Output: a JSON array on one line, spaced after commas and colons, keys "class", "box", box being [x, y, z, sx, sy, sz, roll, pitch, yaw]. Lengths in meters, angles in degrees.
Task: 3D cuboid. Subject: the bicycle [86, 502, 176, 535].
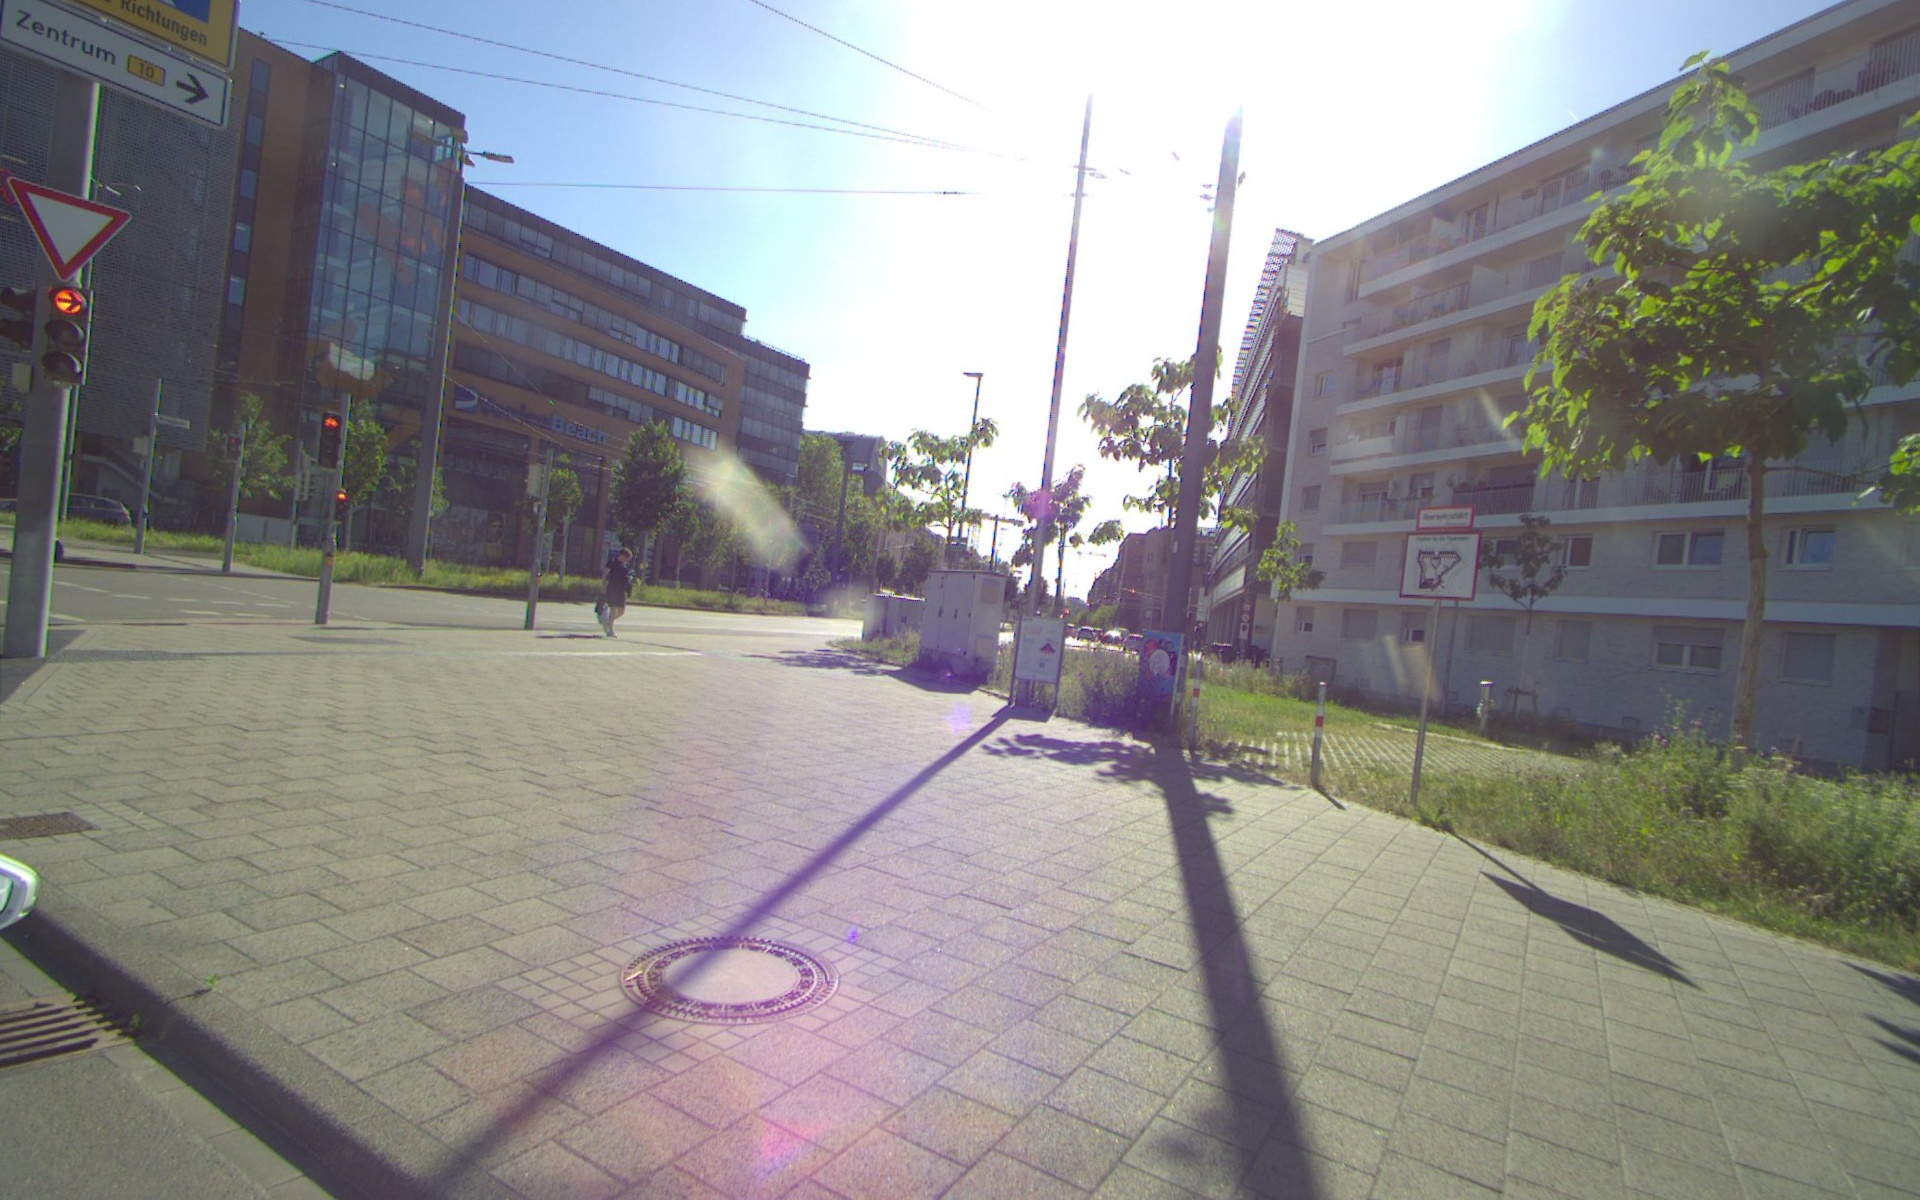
[{"class": "bicycle", "box": [-42.738, -4.183, 51.899, 1.100, 1.090, 3.361, 7, -1, 38]}]

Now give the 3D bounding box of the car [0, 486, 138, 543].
[{"class": "car", "box": [-33.675, -3.210, 37.405, 1.470, 1.513, 4.493, 7, -1, 32]}]

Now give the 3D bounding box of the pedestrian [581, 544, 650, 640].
[{"class": "pedestrian", "box": [-6.663, -0.153, 19.462, 0.749, 1.729, 0.807, 7, 0, 31]}]

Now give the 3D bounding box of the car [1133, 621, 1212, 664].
[{"class": "car", "box": [12.402, 2.470, 58.916, 3.929, 2.038, 1.999, 7, 0, -5]}]
